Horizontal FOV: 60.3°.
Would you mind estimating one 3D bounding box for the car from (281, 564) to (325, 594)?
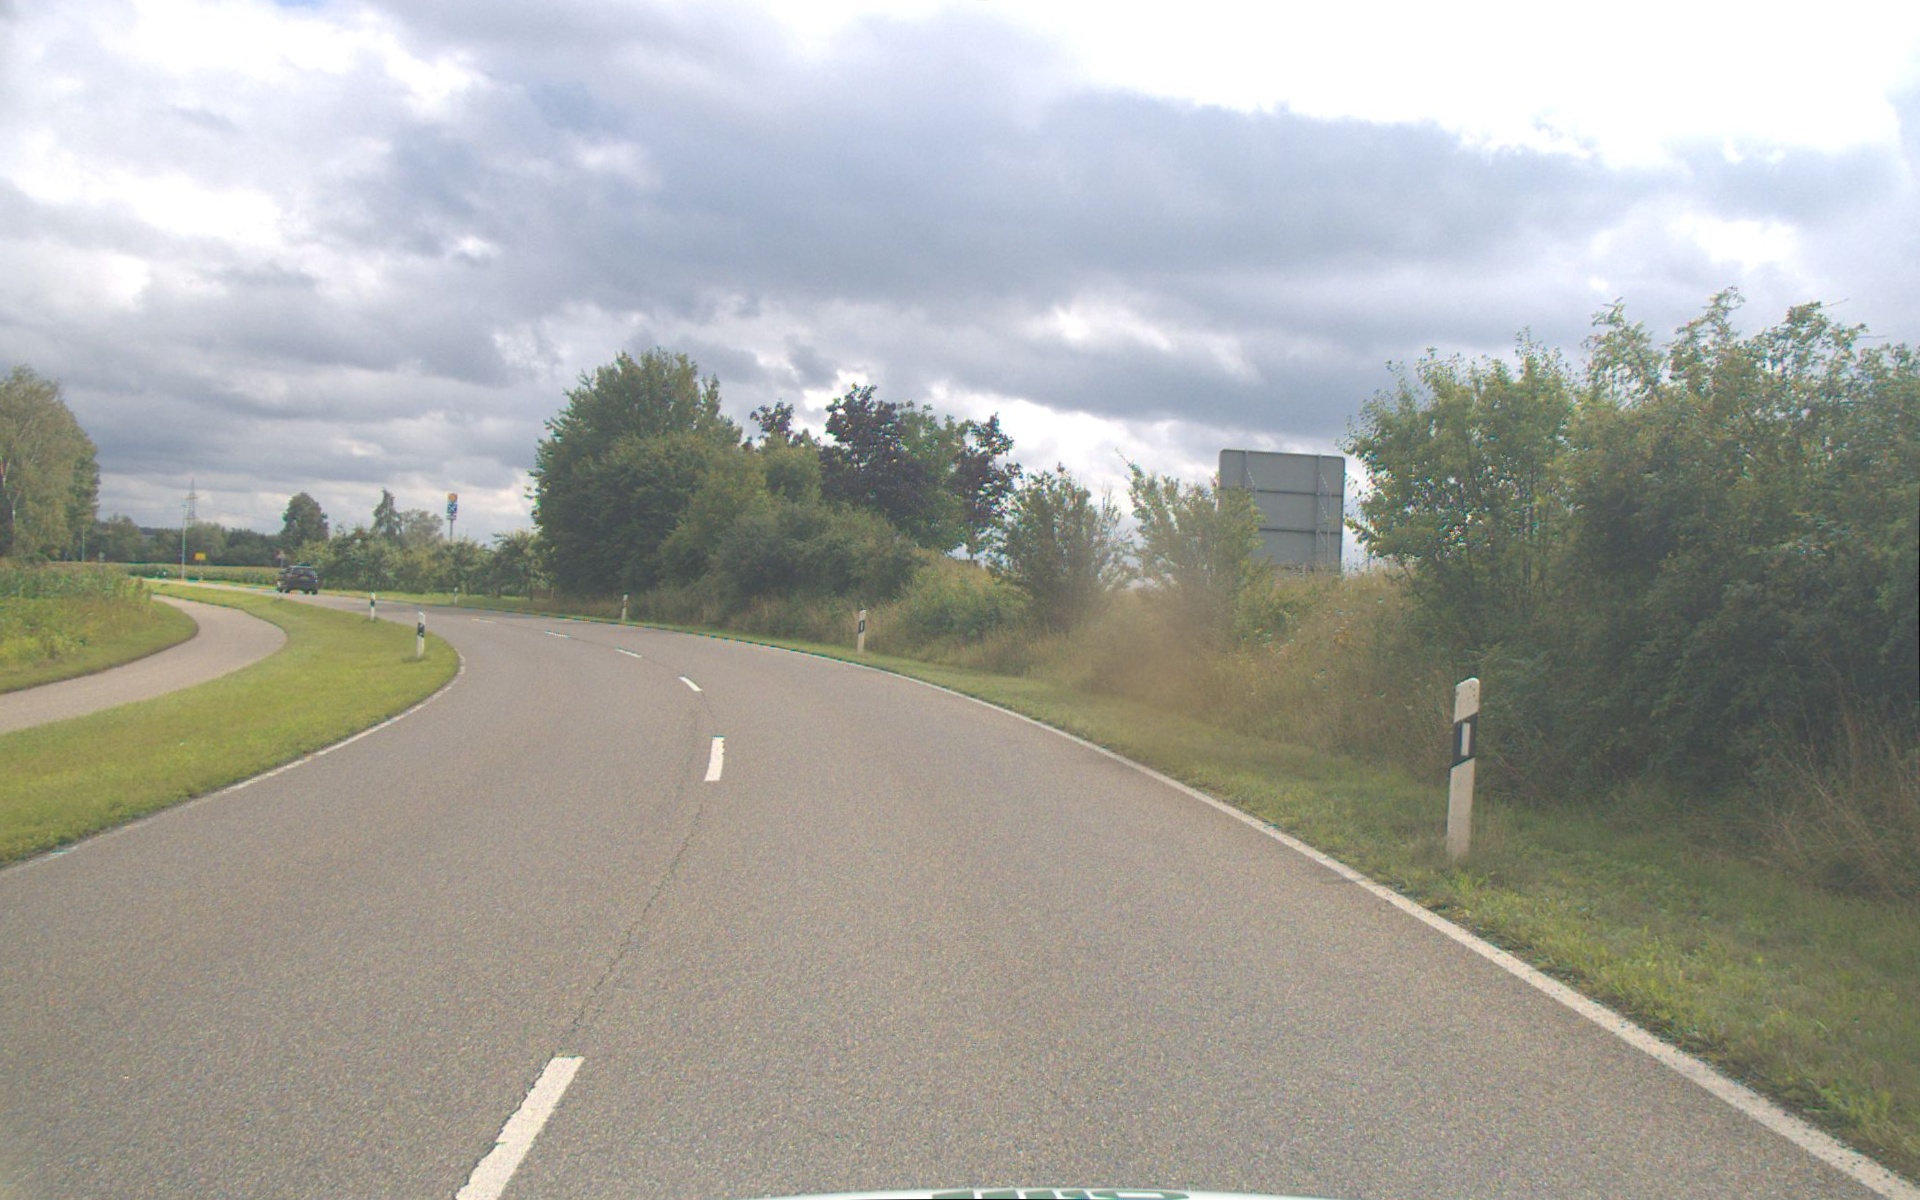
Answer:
[{"bbox_3d":[-40.980,-1.317,103.119,1.887,1.695,3.958,3,0,-31],"label":"car"}]
